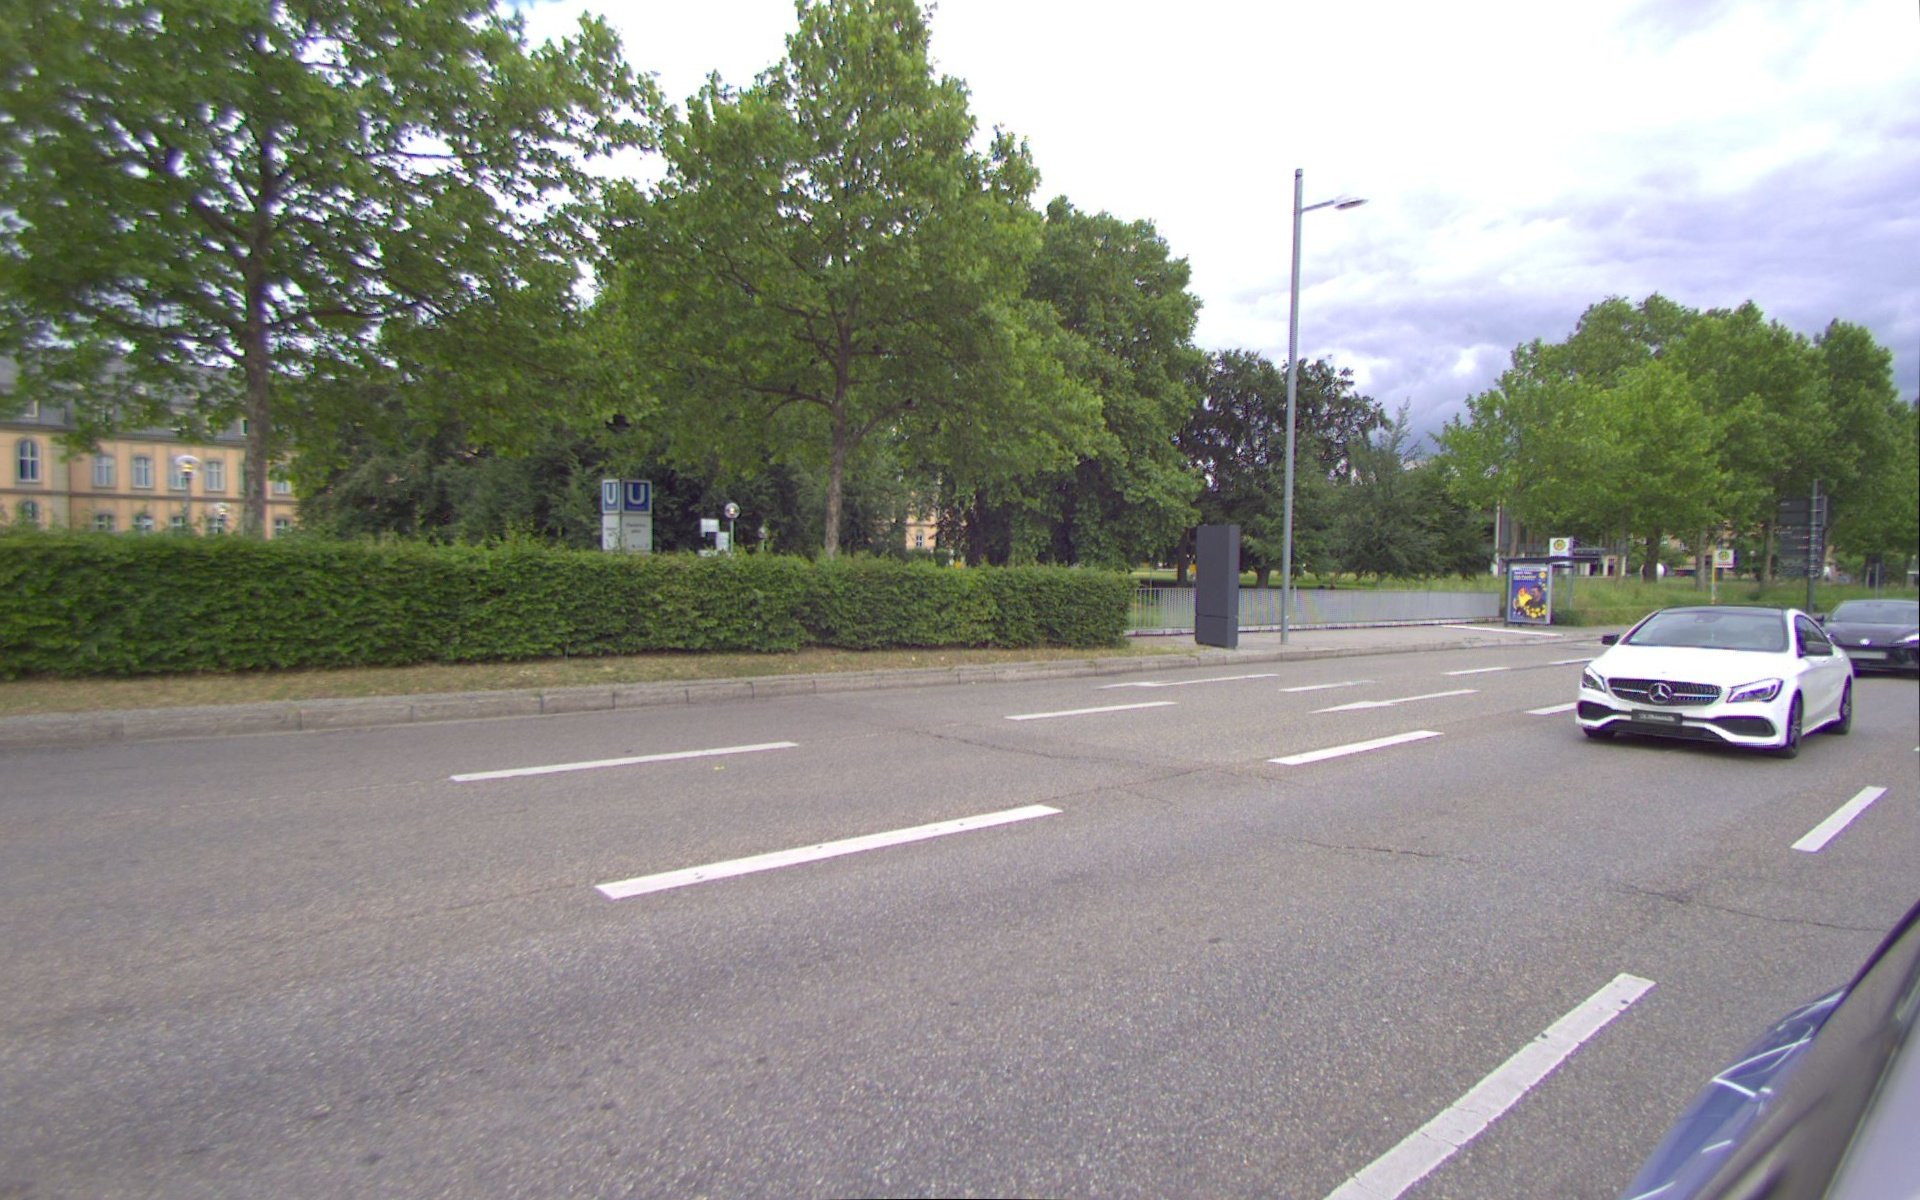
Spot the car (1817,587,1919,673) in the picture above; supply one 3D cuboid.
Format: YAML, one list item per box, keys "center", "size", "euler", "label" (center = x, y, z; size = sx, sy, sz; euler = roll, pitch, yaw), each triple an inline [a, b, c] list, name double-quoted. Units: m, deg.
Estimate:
- center: [18.708, 0.558, 20.220]
  size: [4.047, 1.543, 1.828]
  euler: [0, 1, -41]
  label: "car"

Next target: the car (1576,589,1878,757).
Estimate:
- center: [8.452, 0.621, 10.999]
  size: [4.427, 1.441, 1.722]
  euler: [-1, 1, -41]
  label: "car"
